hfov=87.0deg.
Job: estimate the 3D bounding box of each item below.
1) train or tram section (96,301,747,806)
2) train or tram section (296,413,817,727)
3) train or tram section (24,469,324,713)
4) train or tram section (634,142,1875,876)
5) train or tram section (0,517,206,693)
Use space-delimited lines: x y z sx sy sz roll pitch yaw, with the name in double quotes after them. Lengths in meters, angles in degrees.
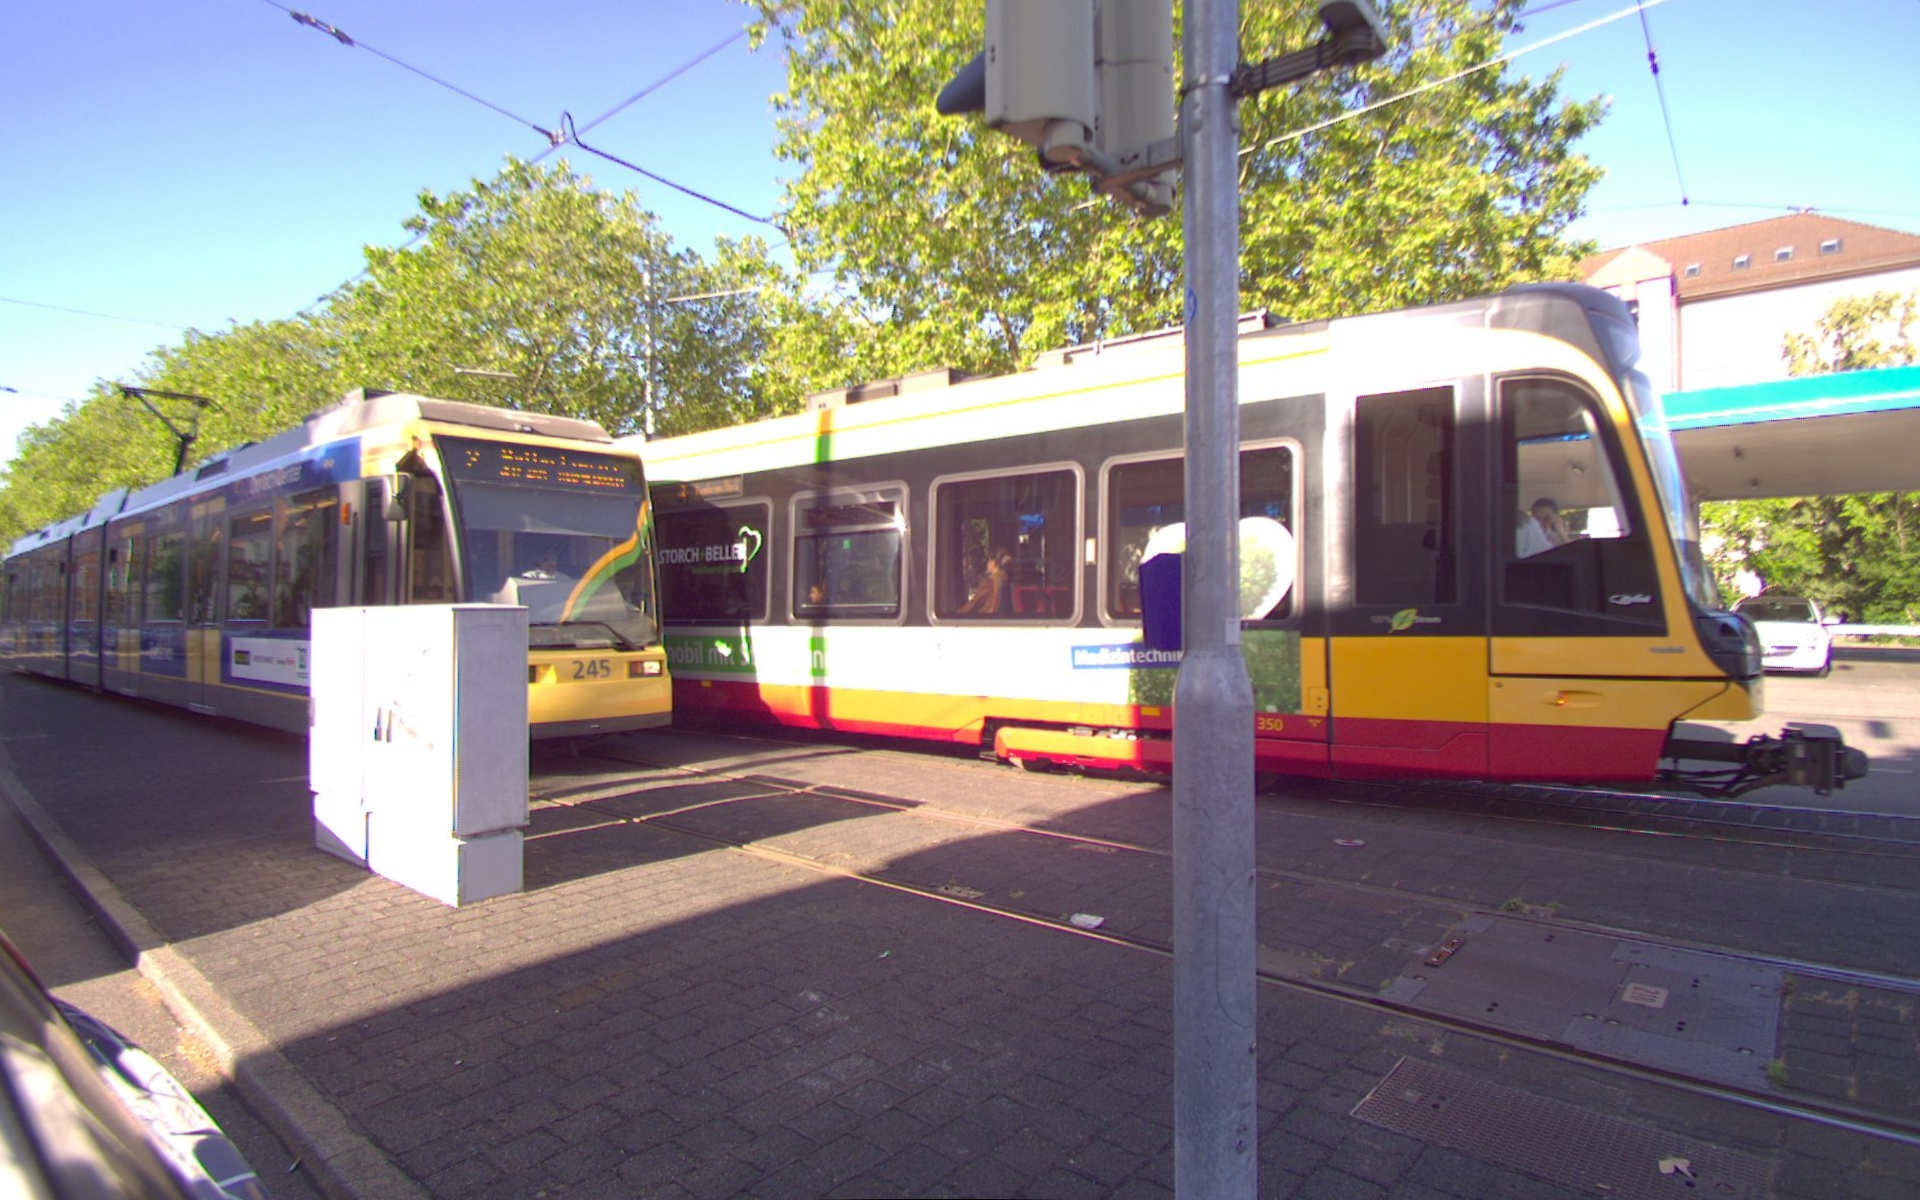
-7.347 -0.200 12.063 12.023 3.526 2.741 -2 -2 41 "train or tram section"
-6.758 -0.292 15.589 10.170 3.503 2.809 -1 0 39 "train or tram section"
-14.592 -0.036 18.467 8.458 3.526 2.785 -2 -2 41 "train or tram section"
1.236 -0.396 9.127 10.170 3.503 2.827 -1 0 39 "train or tram section"
-20.638 0.186 24.010 7.958 3.526 2.785 -2 -2 41 "train or tram section"
